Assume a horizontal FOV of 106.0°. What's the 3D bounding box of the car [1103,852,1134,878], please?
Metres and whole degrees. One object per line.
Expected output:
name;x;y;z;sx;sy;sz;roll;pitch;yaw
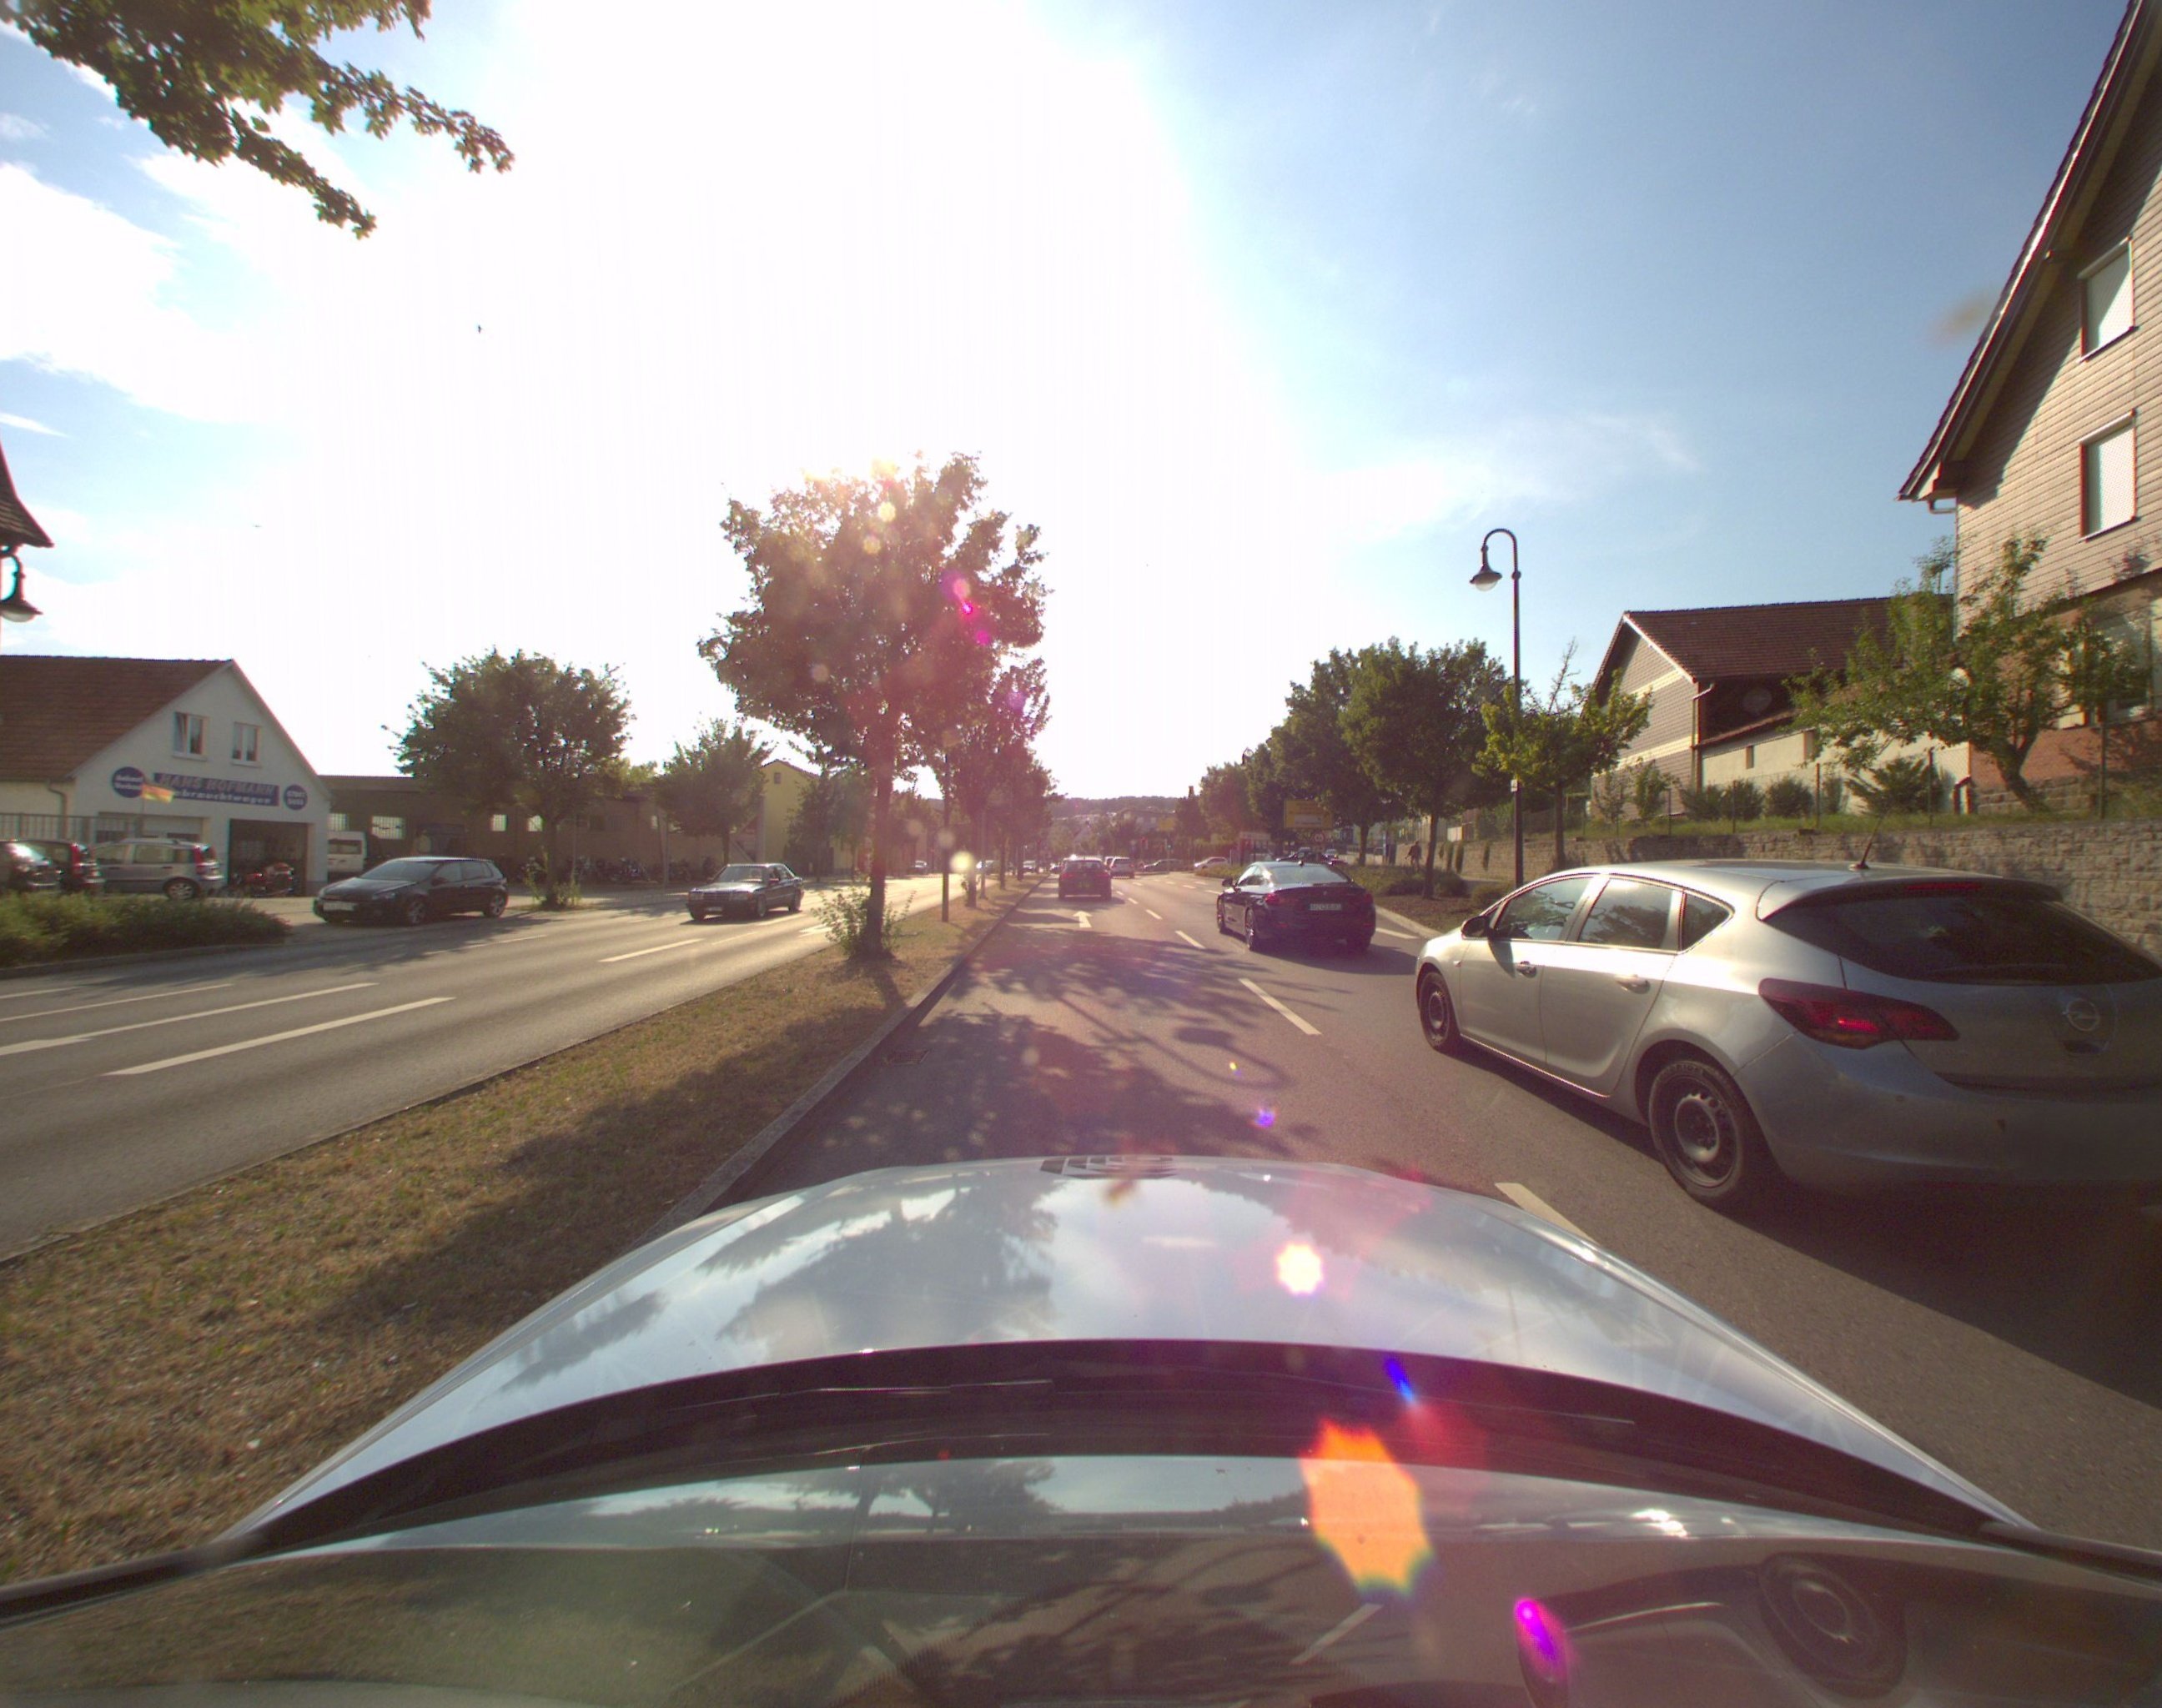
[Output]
car;2.639;0.775;58.593;1.920;1.769;4.451;-1;0;-1

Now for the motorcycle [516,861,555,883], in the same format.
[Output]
motorcycle;-29.139;0.942;43.509;0.510;1.107;1.647;-1;0;31

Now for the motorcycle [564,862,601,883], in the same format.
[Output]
motorcycle;-26.687;0.997;43.632;0.510;1.069;1.647;-1;0;31

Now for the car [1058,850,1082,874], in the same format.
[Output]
car;-0.846;0.586;62.817;1.751;1.769;3.968;-1;0;-1

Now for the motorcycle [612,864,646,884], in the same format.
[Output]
motorcycle;-24.124;1.048;43.456;0.511;1.005;1.552;-1;0;29

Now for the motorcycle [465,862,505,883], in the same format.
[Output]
motorcycle;-31.730;0.952;43.350;0.510;1.069;1.647;-1;0;31

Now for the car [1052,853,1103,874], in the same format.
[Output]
car;-0.379;1.009;87.216;5.126;2.130;2.132;-1;0;-21

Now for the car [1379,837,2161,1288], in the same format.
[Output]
car;3.422;0.674;4.890;1.715;1.490;4.307;-1;1;1

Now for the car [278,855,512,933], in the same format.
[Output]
car;-15.293;0.809;18.519;1.751;1.454;4.131;4;0;-1

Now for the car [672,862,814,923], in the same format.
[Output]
car;-8.673;0.917;21.349;1.750;1.361;4.486;-1;0;1

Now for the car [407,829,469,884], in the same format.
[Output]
car;-30.191;0.079;38.208;2.053;2.335;4.271;4;0;-39

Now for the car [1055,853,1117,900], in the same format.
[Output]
car;0.259;0.727;28.362;1.712;1.490;4.360;0;0;6

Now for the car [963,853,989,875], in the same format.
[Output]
car;-9.924;0.953;77.455;2.135;2.008;5.118;-1;0;-4

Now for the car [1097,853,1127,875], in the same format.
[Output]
car;2.585;0.841;69.125;2.211;1.769;4.451;-1;0;-2

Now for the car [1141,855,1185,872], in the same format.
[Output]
car;9.567;1.057;94.959;4.931;1.929;2.146;-1;0;0

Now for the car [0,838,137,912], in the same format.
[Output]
car;-23.970;0.407;17.913;3.687;1.477;1.809;4;0;-26

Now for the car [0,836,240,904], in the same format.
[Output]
car;-24.178;0.428;20.631;3.697;1.477;1.804;4;0;-38

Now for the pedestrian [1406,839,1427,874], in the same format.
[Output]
pedestrian;16.924;0.120;41.093;0.692;1.703;0.952;-1;0;7

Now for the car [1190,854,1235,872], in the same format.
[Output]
car;14.559;1.002;90.152;4.539;1.929;2.137;-1;0;-13

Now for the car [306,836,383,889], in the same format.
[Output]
car;-33.739;0.337;37.413;2.051;2.150;4.273;4;0;-36

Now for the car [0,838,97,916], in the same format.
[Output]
car;-22.581;0.412;15.969;3.687;1.528;1.809;2;-1;-26

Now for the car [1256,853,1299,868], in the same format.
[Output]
car;23.506;0.768;97.412;4.622;1.829;1.997;-1;0;-4

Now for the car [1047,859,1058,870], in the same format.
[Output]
car;-5.277;1.966;152.015;1.765;2.013;4.003;-1;0;3

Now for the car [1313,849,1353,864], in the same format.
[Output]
car;33.020;0.312;106.761;4.622;1.829;1.997;-1;0;-4

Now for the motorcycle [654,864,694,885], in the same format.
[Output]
motorcycle;-21.836;1.077;43.686;0.510;1.069;1.882;-1;0;35

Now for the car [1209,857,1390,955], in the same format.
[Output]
car;3.460;0.747;13.802;1.914;1.364;4.352;-1;0;0

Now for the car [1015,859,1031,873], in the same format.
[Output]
car;-7.316;1.478;103.375;1.724;1.679;4.000;-1;0;0
